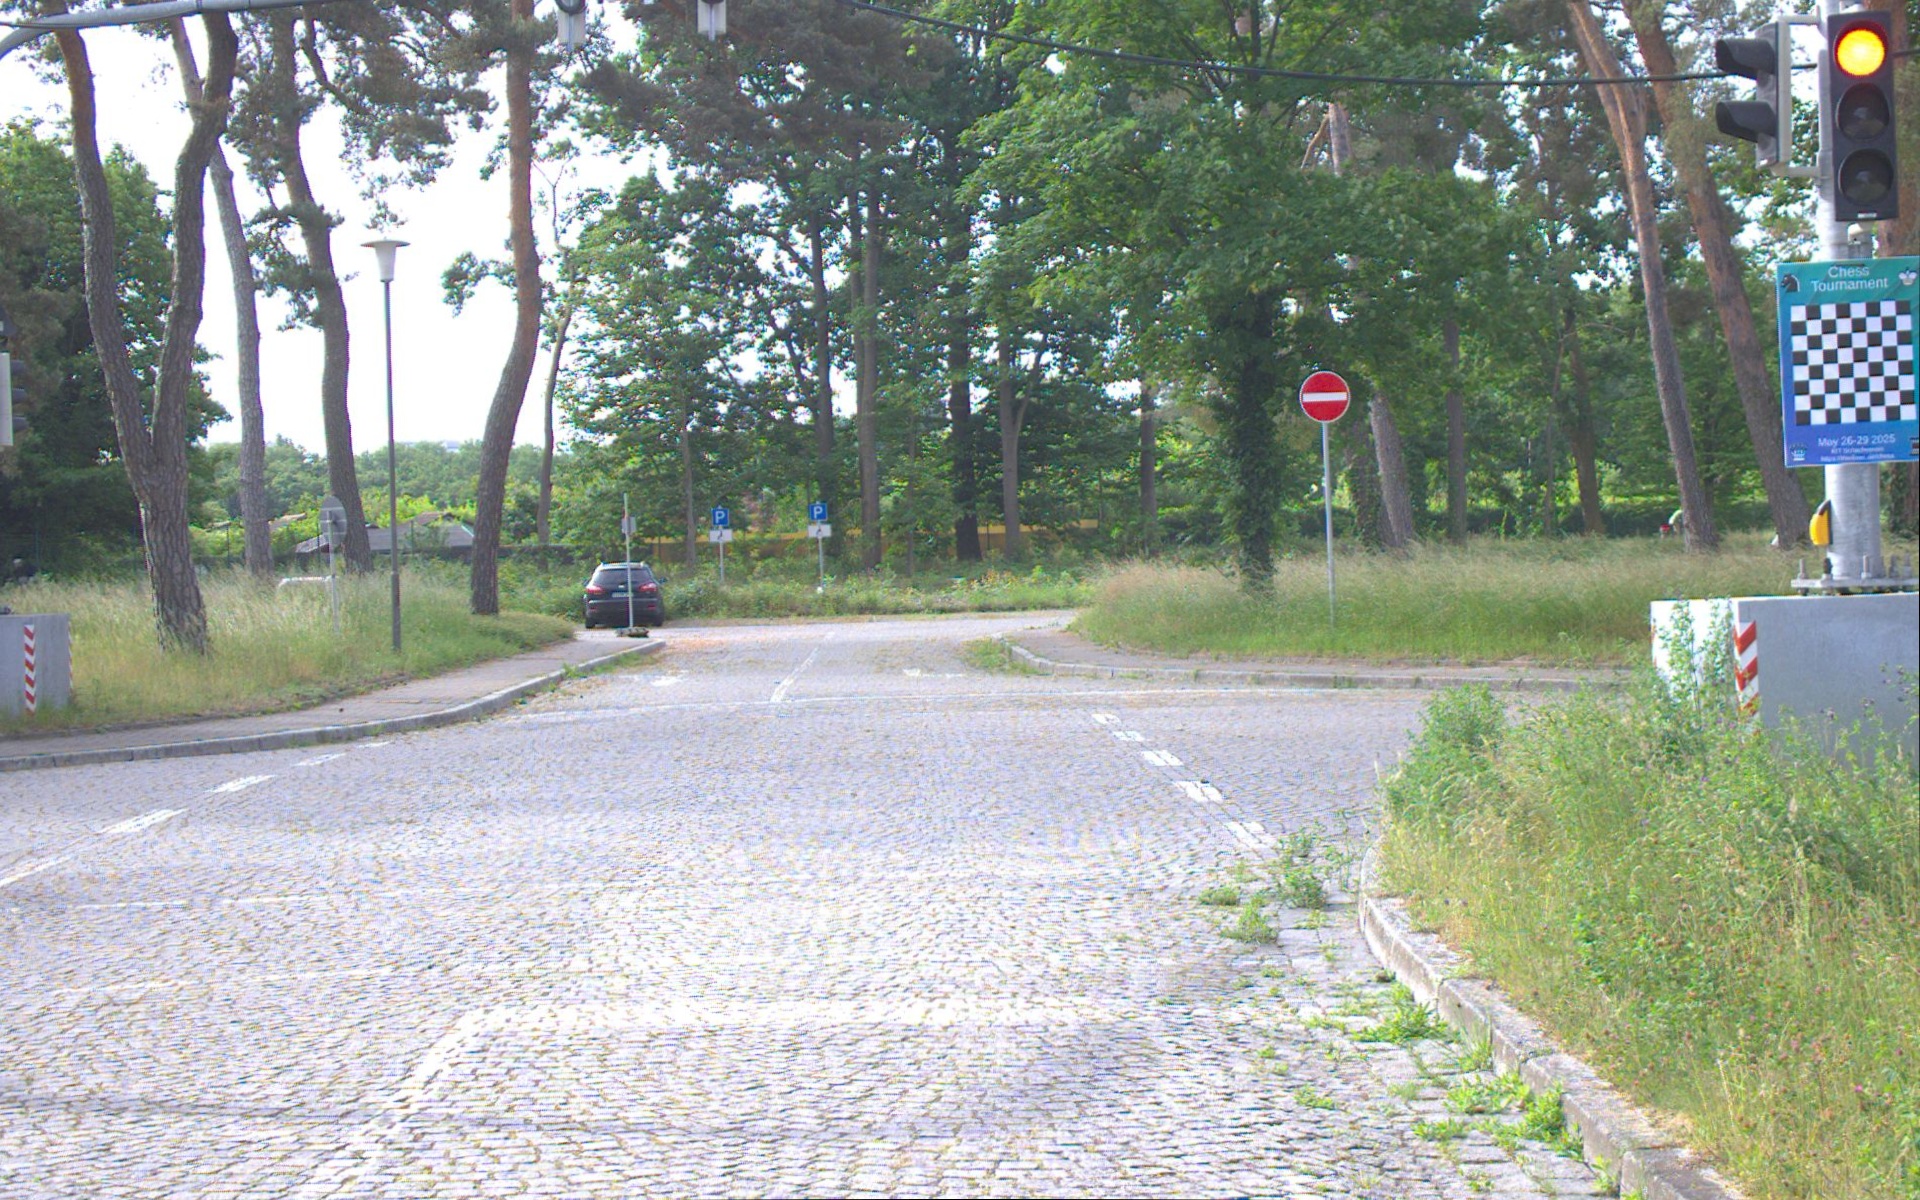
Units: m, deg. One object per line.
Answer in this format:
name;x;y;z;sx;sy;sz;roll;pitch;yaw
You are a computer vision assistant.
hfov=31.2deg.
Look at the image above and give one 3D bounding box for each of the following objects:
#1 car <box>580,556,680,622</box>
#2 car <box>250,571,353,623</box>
car;-7.848;-0.283;82.036;1.993;1.503;4.000;0;1;0
car;-15.877;-0.094;83.045;1.689;1.152;4.000;-2;1;0
